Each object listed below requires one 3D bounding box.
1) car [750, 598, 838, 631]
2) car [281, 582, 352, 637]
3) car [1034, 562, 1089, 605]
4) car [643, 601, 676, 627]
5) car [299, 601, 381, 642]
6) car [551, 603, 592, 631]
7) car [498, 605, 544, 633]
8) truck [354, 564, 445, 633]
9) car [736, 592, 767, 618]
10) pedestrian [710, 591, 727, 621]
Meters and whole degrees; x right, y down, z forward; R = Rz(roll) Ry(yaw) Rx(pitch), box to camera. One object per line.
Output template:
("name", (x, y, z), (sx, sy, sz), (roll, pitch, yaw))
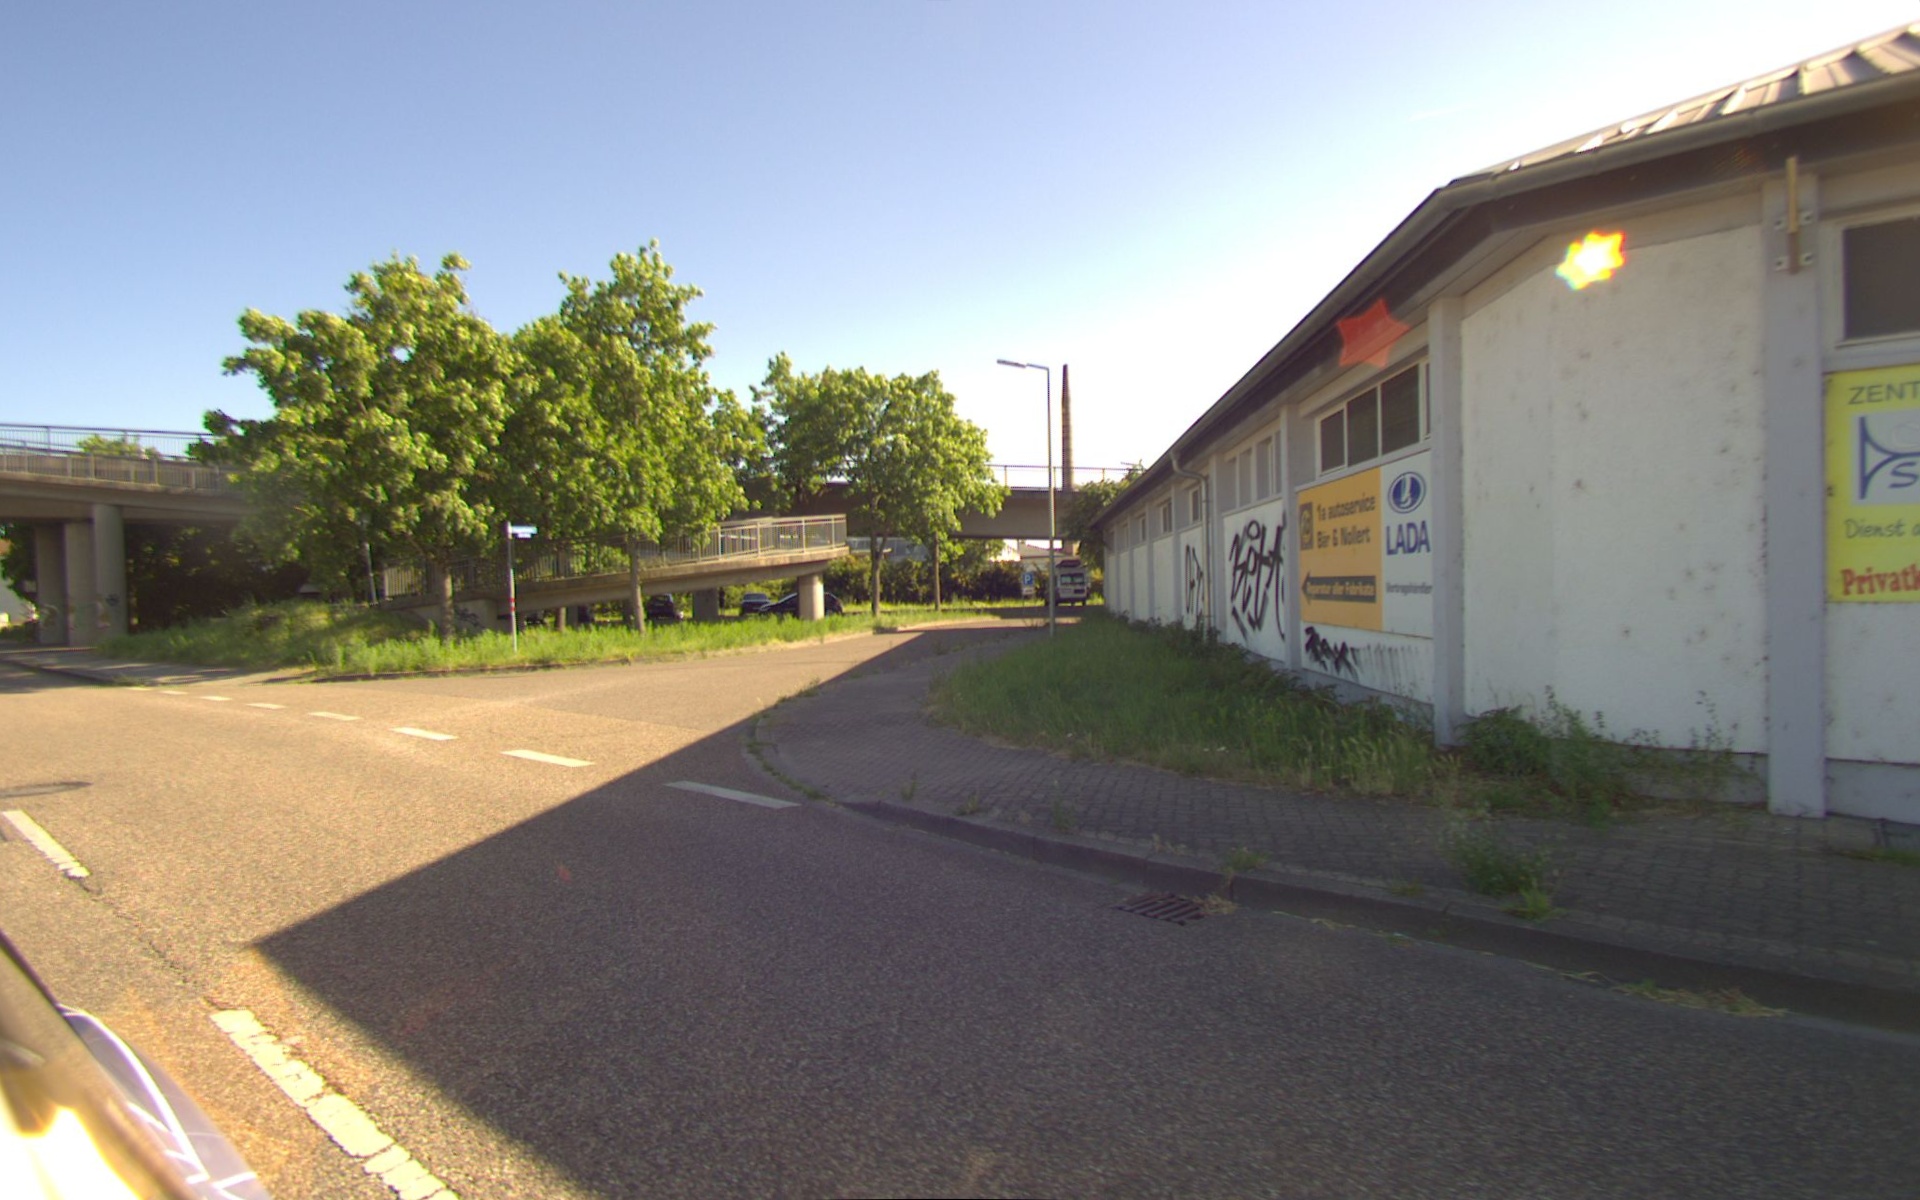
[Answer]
("car", (-8.377, 0.717, 50.961), (4.226, 1.564, 1.688), (-1, 0, -14))
("car", (-34.003, 0.543, 53.672), (1.913, 2.702, 6.028), (-1, -1, -20))
("car", (6.214, -0.988, 62.866), (1.969, 2.525, 6.416), (-1, 0, -7))
("car", (-17.501, 0.782, 59.123), (1.711, 1.453, 4.262), (-1, 0, -15))
("car", (-26.788, 0.944, 43.885), (1.838, 1.654, 4.294), (1, -1, -15))
("car", (-22.046, 0.927, 57.546), (1.711, 1.453, 4.262), (-1, 0, -15))
("car", (-24.556, 1.031, 56.772), (1.711, 1.453, 4.262), (-1, 0, -15))
("truck", (-31.425, -0.090, 57.051), (2.441, 3.578, 7.989), (-1, 0, -14))
("car", (-12.364, 0.299, 59.909), (1.712, 1.453, 4.261), (-1, 0, -12))
("pedestrian", (-13.642, 0.316, 57.157), (0.658, 1.675, 0.712), (-1, 0, -38))
